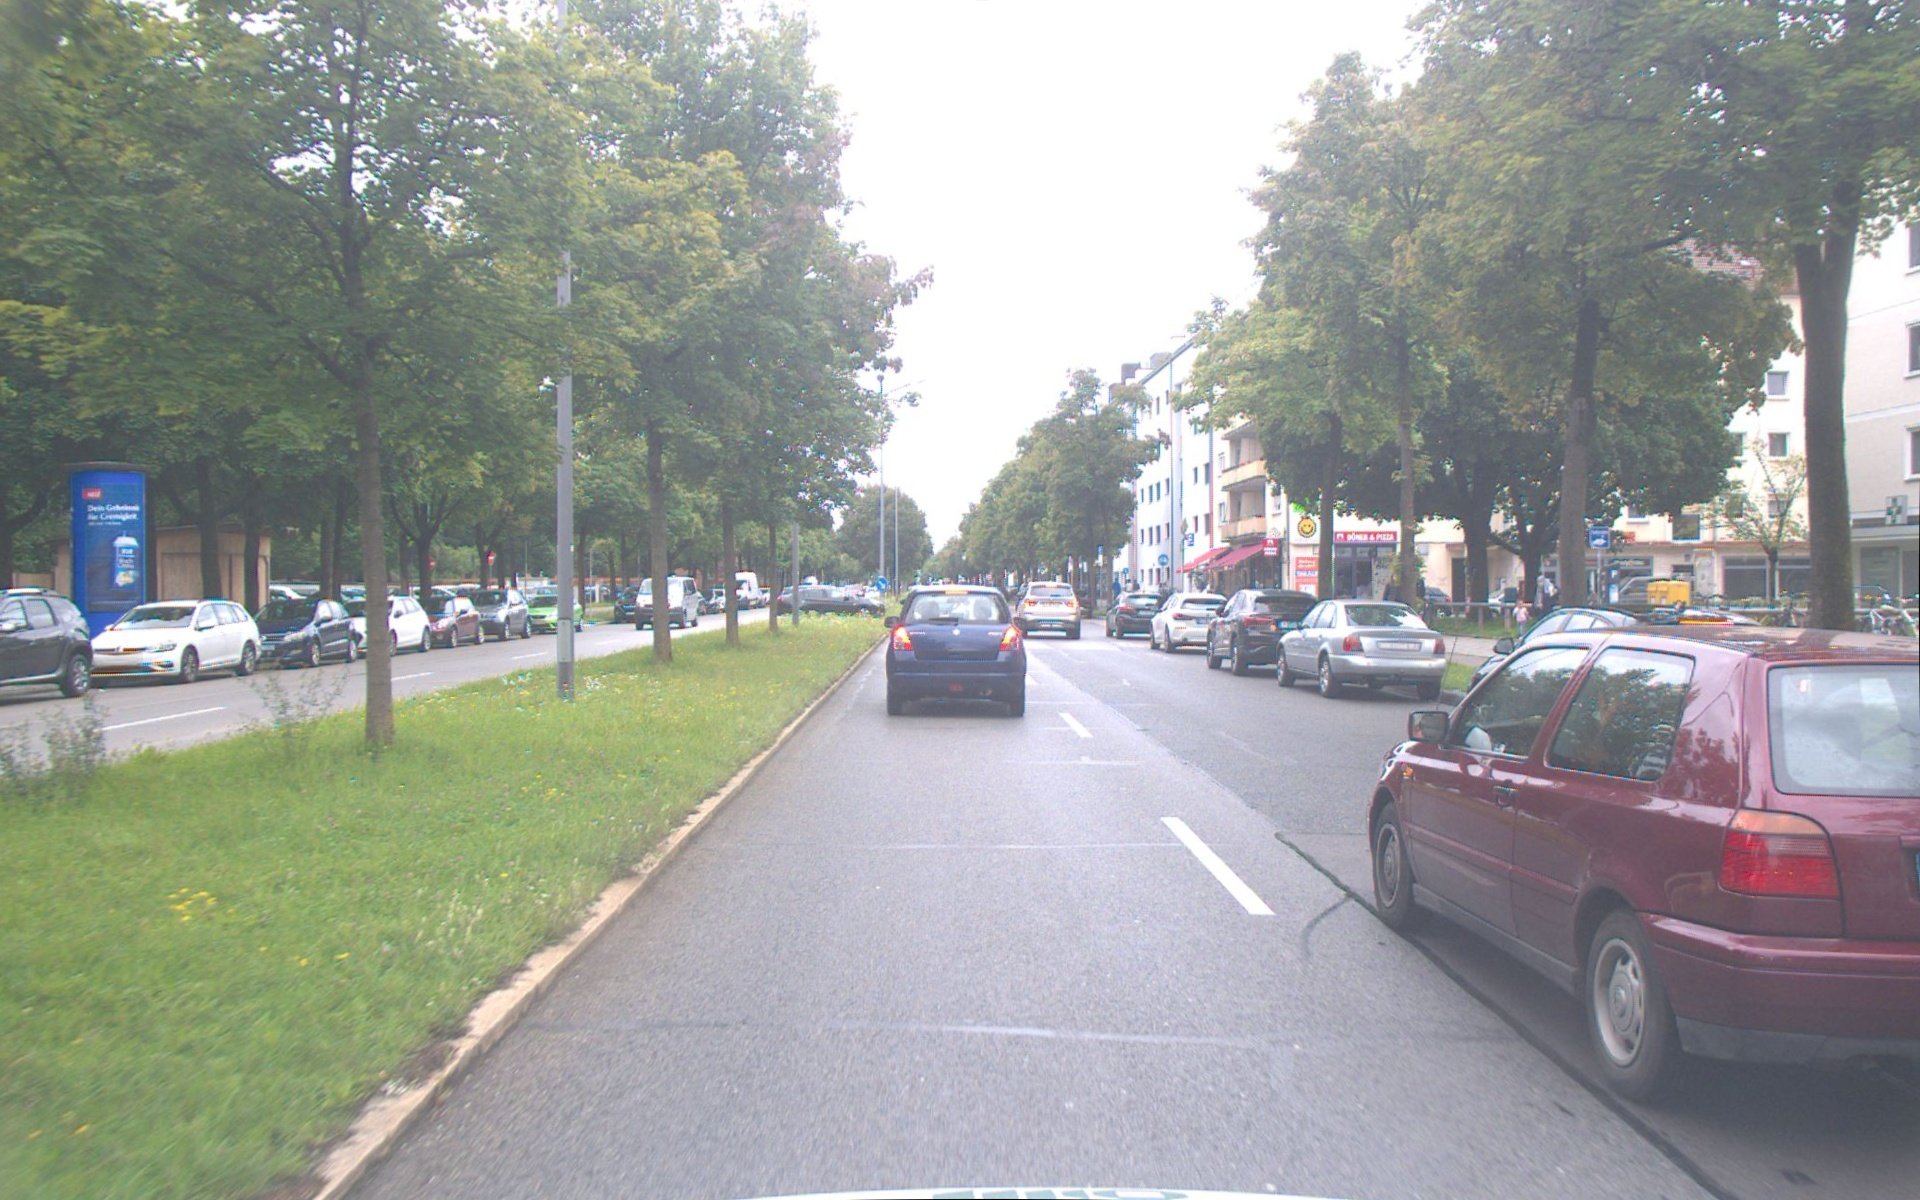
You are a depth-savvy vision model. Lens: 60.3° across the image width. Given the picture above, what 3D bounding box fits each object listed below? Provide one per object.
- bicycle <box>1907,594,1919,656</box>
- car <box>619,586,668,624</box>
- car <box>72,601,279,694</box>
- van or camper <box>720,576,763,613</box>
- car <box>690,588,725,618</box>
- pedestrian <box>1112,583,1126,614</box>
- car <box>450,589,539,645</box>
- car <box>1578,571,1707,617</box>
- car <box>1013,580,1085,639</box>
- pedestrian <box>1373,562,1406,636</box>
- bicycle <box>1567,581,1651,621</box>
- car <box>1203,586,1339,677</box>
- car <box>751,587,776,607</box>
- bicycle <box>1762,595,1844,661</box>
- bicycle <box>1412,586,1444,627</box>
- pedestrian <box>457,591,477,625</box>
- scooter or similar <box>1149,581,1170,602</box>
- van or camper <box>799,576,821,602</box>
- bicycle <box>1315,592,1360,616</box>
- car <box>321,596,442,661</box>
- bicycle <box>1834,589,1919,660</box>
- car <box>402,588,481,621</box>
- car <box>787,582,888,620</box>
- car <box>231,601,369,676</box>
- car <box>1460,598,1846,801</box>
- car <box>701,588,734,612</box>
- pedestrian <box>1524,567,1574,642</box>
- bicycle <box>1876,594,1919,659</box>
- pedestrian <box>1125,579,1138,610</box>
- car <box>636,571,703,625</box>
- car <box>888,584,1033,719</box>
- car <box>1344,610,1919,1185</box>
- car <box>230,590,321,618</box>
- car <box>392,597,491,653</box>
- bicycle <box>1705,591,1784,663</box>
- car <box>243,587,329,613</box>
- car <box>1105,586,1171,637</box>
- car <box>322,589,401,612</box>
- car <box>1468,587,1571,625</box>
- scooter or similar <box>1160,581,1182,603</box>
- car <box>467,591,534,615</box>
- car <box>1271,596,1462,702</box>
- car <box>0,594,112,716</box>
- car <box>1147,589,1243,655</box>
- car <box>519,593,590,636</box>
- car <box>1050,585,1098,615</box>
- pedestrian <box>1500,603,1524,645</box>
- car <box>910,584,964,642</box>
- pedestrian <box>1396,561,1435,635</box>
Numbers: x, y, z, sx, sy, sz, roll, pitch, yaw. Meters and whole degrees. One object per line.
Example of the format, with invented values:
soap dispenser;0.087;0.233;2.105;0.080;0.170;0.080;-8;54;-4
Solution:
bicycle;16.681;0.437;27.798;0.422;1.046;1.883;-1;1;0
car;-14.974;0.230;78.406;1.682;1.771;3.878;1;0;-2
car;-14.431;0.825;30.717;1.727;1.475;4.532;-2;1;-1
van or camper;-15.778;-0.407;119.894;2.073;2.525;7.448;1;0;0
car;-15.329;0.149;100.386;1.599;1.771;3.878;1;0;-2
pedestrian;10.394;-0.113;108.247;0.778;2.049;1.006;0;0;0
car;-14.799;0.508;52.780;1.656;1.614;4.370;-2;1;-2
car;28.679;-0.261;69.545;4.640;1.804;1.871;-1;0;-3
car;2.675;0.262;50.593;1.828;1.690;4.406;1;1;-2
pedestrian;11.323;-0.033;43.624;0.576;1.923;0.902;-1;0;-2
bicycle;15.982;0.029;40.722;1.839;0.956;0.558;1;0;0
car;5.772;0.539;31.148;1.682;1.560;4.275;1;1;-1
car;-15.839;-0.239;133.397;1.599;1.610;3.878;1;0;-2
bicycle;14.309;0.458;28.127;0.422;1.046;1.883;-1;1;0
bicycle;13.278;0.177;46.924;0.373;1.122;1.883;1;0;0
pedestrian;-22.551;0.368;75.670;0.712;1.560;0.721;1;0;0
scooter or similar;13.137;-0.570;109.123;1.011;1.330;2.755;0;1;0
van or camper;-19.621;-1.450;216.574;2.509;3.353;6.935;1;0;-2
bicycle;16.207;0.169;70.980;1.810;0.974;0.557;1;0;-2
car;-14.586;0.681;41.937;1.574;1.469;4.278;-2;1;-1
bicycle;15.453;0.395;27.884;0.422;1.120;1.883;-1;1;0
car;-28.288;0.251;90.263;3.843;1.748;1.670;1;0;-6
car;-5.043;0.041;67.661;4.043;1.494;1.837;-1;1;-7
car;-14.289;0.794;36.016;1.581;1.442;3.895;-2;1;-3
car;5.967;0.764;14.824;1.714;1.491;4.176;1;1;0
car;-15.498;-0.021;105.718;1.599;1.456;3.878;1;0;-2
pedestrian;13.670;0.090;38.419;0.821;1.710;0.834;-1;0;-2
bicycle;16.142;0.446;27.802;0.422;1.046;1.883;-1;1;0
pedestrian;11.221;-0.364;108.229;0.778;2.049;1.006;0;0;0
car;-11.195;-0.094;63.968;1.763;1.967;4.992;-2;0;-2
car;-0.056;0.564;20.801;1.648;1.528;3.918;0;1;-2
car;2.781;0.782;6.200;1.648;1.408;3.917;1;0;-2
car;-31.646;0.190;76.413;4.325;1.222;1.669;0;0;31
car;-14.680;0.678;46.995;1.558;1.421;3.631;-2;1;1
bicycle;13.231;0.436;27.948;0.422;1.153;1.884;-1;1;0
car;-40.172;0.012;98.605;4.414;1.502;1.672;1;0;0
car;5.555;0.349;51.847;1.584;1.491;3.673;1;0;-1
car;-39.545;0.048;109.407;4.595;1.471;1.672;1;0;0
car;22.426;0.241;66.389;3.476;1.442;1.871;-1;1;-1
scooter or similar;13.287;-0.506;104.314;1.011;1.330;2.755;0;1;0
car;-28.589;0.199;102.939;3.792;1.471;1.670;1;0;-6
car;6.073;0.675;25.191;1.603;1.410;4.241;1;1;-4
car;-14.362;0.801;24.246;1.701;1.674;4.255;-2;1;-1
car;5.811;0.498;41.272;1.648;1.491;4.136;2;1;-2
car;-14.927;0.499;60.988;1.515;1.434;3.880;-2;1;2
car;5.638;-0.026;82.370;1.829;1.442;4.221;-1;1;-4
pedestrian;12.932;0.553;38.764;0.399;0.966;0.435;-1;0;-2
car;-0.648;0.326;44.722;1.415;1.509;3.105;0;1;-2
pedestrian;11.998;-0.054;43.605;0.714;1.923;0.919;-1;0;-2
